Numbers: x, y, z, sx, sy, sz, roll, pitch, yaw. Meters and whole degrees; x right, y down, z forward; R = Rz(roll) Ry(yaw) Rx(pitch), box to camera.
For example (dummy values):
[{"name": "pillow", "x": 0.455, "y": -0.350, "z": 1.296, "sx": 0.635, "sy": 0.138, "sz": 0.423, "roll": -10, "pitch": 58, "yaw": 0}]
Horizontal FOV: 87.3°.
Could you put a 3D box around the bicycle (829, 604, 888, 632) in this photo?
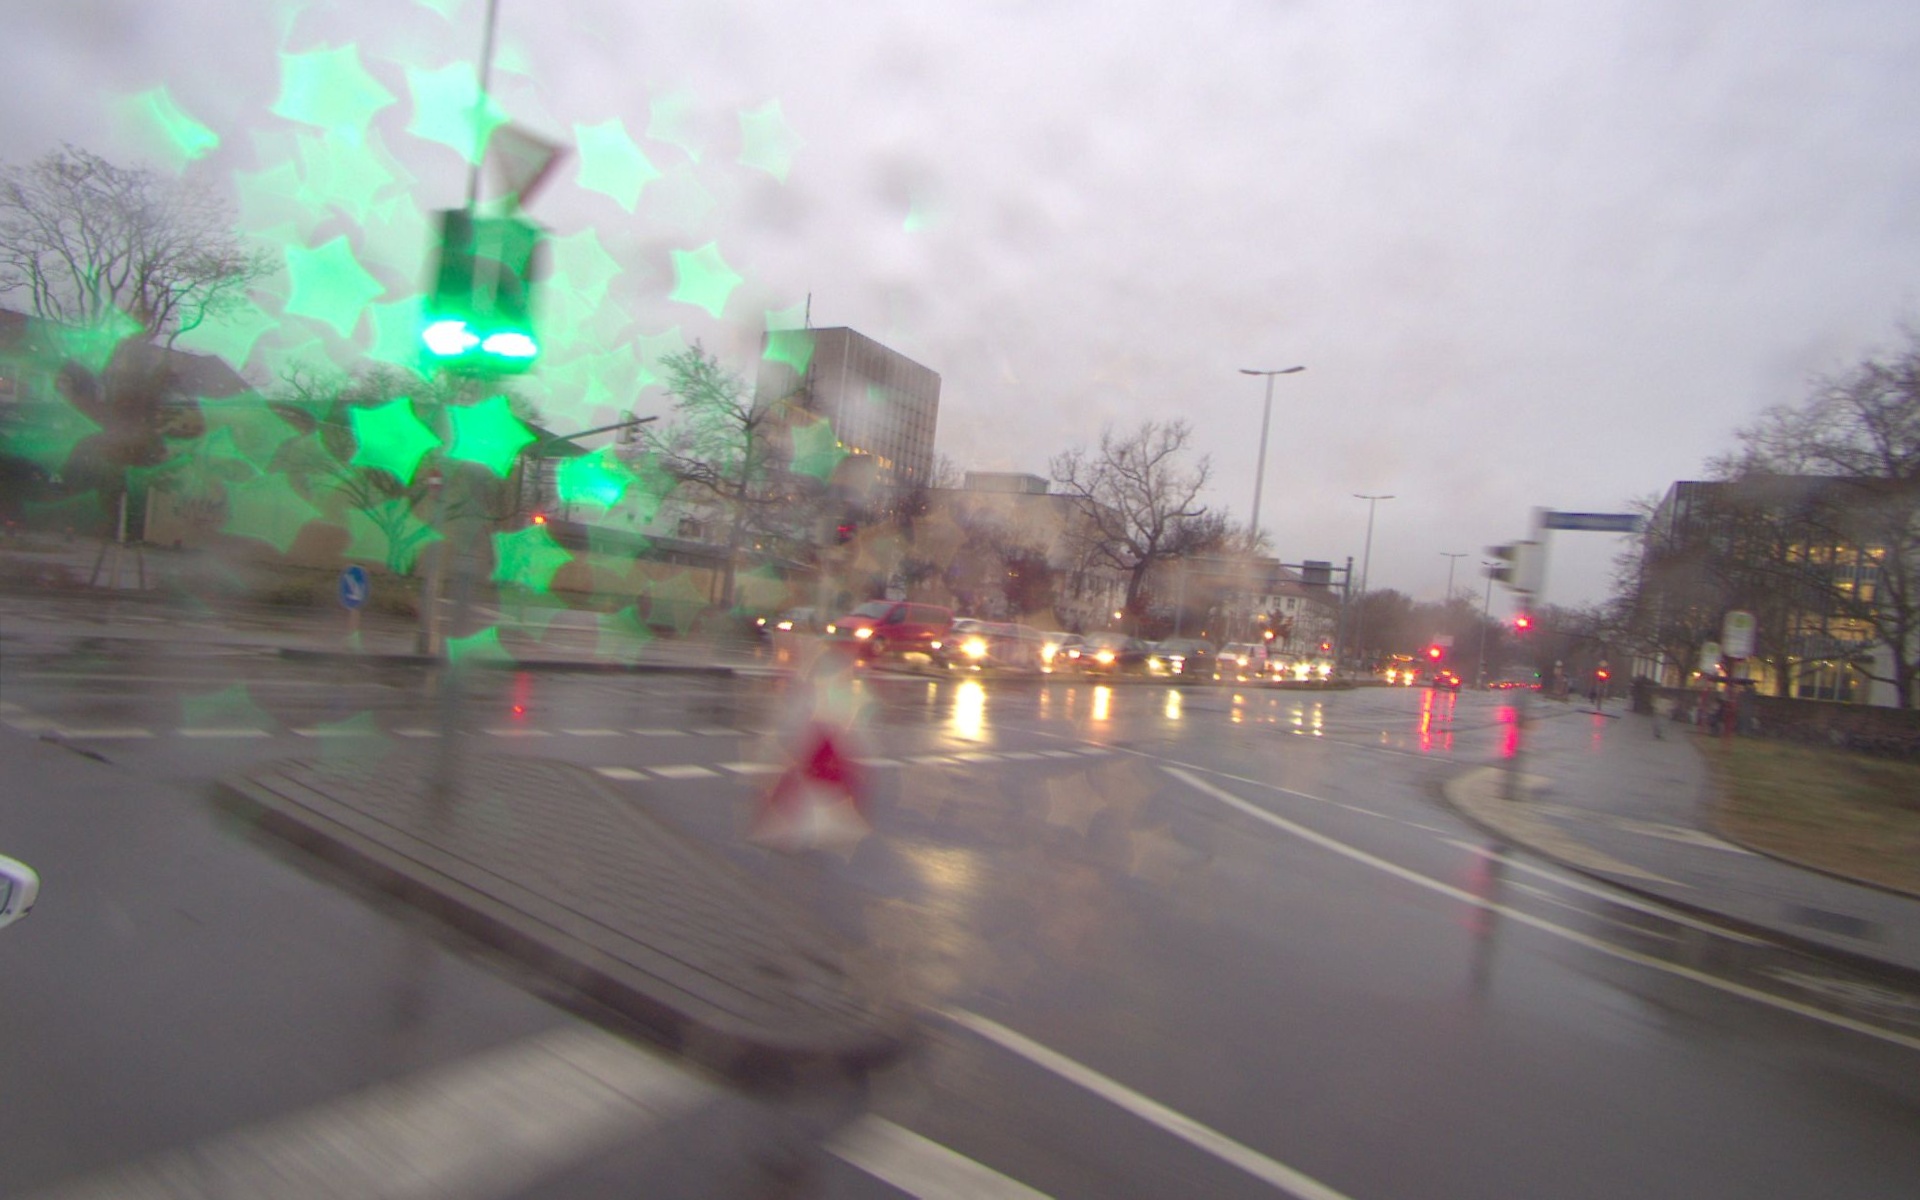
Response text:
[{"name": "bicycle", "x": -4.467, "y": 0.806, "z": 44.581, "sx": 0.782, "sy": 1.028, "sz": 2.893, "roll": 7, "pitch": 1, "yaw": 36}]

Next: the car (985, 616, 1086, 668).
[{"name": "car", "x": 3.179, "y": 1.768, "z": 41.494, "sx": 1.968, "sy": 1.772, "sz": 4.456, "roll": 7, "pitch": 1, "yaw": 35}]

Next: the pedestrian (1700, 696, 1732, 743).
[{"name": "pedestrian", "x": 31.927, "y": 5.032, "z": 42.520, "sx": 0.795, "sy": 1.854, "sz": 0.945, "roll": 7, "pitch": 2, "yaw": 32}]

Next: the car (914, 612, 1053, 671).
[{"name": "car", "x": 0.802, "y": 1.292, "z": 30.346, "sx": 1.901, "sy": 1.393, "sz": 4.484, "roll": 7, "pitch": 0, "yaw": 35}]

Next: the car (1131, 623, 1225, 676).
[{"name": "car", "x": 9.017, "y": 2.068, "z": 41.346, "sx": 1.968, "sy": 1.772, "sz": 4.456, "roll": 9, "pitch": 2, "yaw": 35}]

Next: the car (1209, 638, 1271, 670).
[{"name": "car", "x": 16.964, "y": 3.283, "z": 60.782, "sx": 1.968, "sy": 1.587, "sz": 4.746, "roll": 8, "pitch": 1, "yaw": 35}]

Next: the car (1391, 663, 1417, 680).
[{"name": "car", "x": 56.854, "y": 9.112, "z": 128.785, "sx": 2.109, "sy": 1.839, "sz": 3.987, "roll": 7, "pitch": 1, "yaw": 35}]

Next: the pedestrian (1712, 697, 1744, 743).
[{"name": "pedestrian", "x": 33.279, "y": 5.194, "z": 43.595, "sx": 0.795, "sy": 1.854, "sz": 0.945, "roll": 7, "pitch": 2, "yaw": 32}]

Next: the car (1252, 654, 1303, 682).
[{"name": "car", "x": 21.930, "y": 4.734, "z": 69.328, "sx": 1.968, "sy": 1.587, "sz": 4.456, "roll": 8, "pitch": 1, "yaw": 35}]

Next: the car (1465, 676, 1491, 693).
[{"name": "car", "x": 59.973, "y": 9.842, "z": 116.465, "sx": 1.968, "sy": 1.587, "sz": 4.458, "roll": 8, "pitch": 0, "yaw": 35}]

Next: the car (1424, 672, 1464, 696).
[{"name": "car", "x": 40.022, "y": 6.946, "z": 83.145, "sx": 1.969, "sy": 1.587, "sz": 4.457, "roll": 9, "pitch": 0, "yaw": 36}]

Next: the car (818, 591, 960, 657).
[{"name": "car", "x": -2.298, "y": 0.859, "z": 33.868, "sx": 1.968, "sy": 1.772, "sz": 4.930, "roll": 7, "pitch": 1, "yaw": 35}]

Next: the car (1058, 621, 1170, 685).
[{"name": "car", "x": 5.673, "y": 1.971, "z": 36.662, "sx": 1.968, "sy": 1.772, "sz": 4.456, "roll": 15, "pitch": 5, "yaw": 35}]

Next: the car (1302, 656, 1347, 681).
[{"name": "car", "x": 27.976, "y": 5.256, "z": 77.174, "sx": 1.968, "sy": 1.587, "sz": 4.456, "roll": 8, "pitch": 1, "yaw": 35}]

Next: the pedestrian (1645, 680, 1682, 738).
[{"name": "pedestrian", "x": 24.210, "y": 3.741, "z": 34.624, "sx": 0.795, "sy": 1.854, "sz": 0.945, "roll": 7, "pitch": 2, "yaw": 32}]

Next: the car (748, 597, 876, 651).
[{"name": "car", "x": -5.079, "y": 0.882, "z": 35.144, "sx": 1.747, "sy": 1.505, "sz": 4.456, "roll": 7, "pitch": 1, "yaw": 35}]

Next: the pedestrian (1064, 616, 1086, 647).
[{"name": "pedestrian", "x": 7.436, "y": 2.029, "z": 64.855, "sx": 0.919, "sy": 1.849, "sz": 0.831, "roll": 8, "pitch": 2, "yaw": 35}]

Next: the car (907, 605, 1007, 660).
[{"name": "car", "x": -0.055, "y": 1.386, "z": 41.471, "sx": 1.970, "sy": 1.860, "sz": 3.986, "roll": 7, "pitch": 0, "yaw": 37}]

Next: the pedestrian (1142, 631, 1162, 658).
[{"name": "pedestrian", "x": 14.113, "y": 3.255, "z": 73.917, "sx": 0.919, "sy": 1.849, "sz": 0.831, "roll": 8, "pitch": 2, "yaw": 35}]

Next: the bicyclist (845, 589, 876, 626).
[{"name": "bicyclist", "x": -4.413, "y": 0.344, "z": 44.600, "sx": 0.756, "sy": 1.509, "sz": 0.991, "roll": 7, "pitch": 2, "yaw": 36}]
